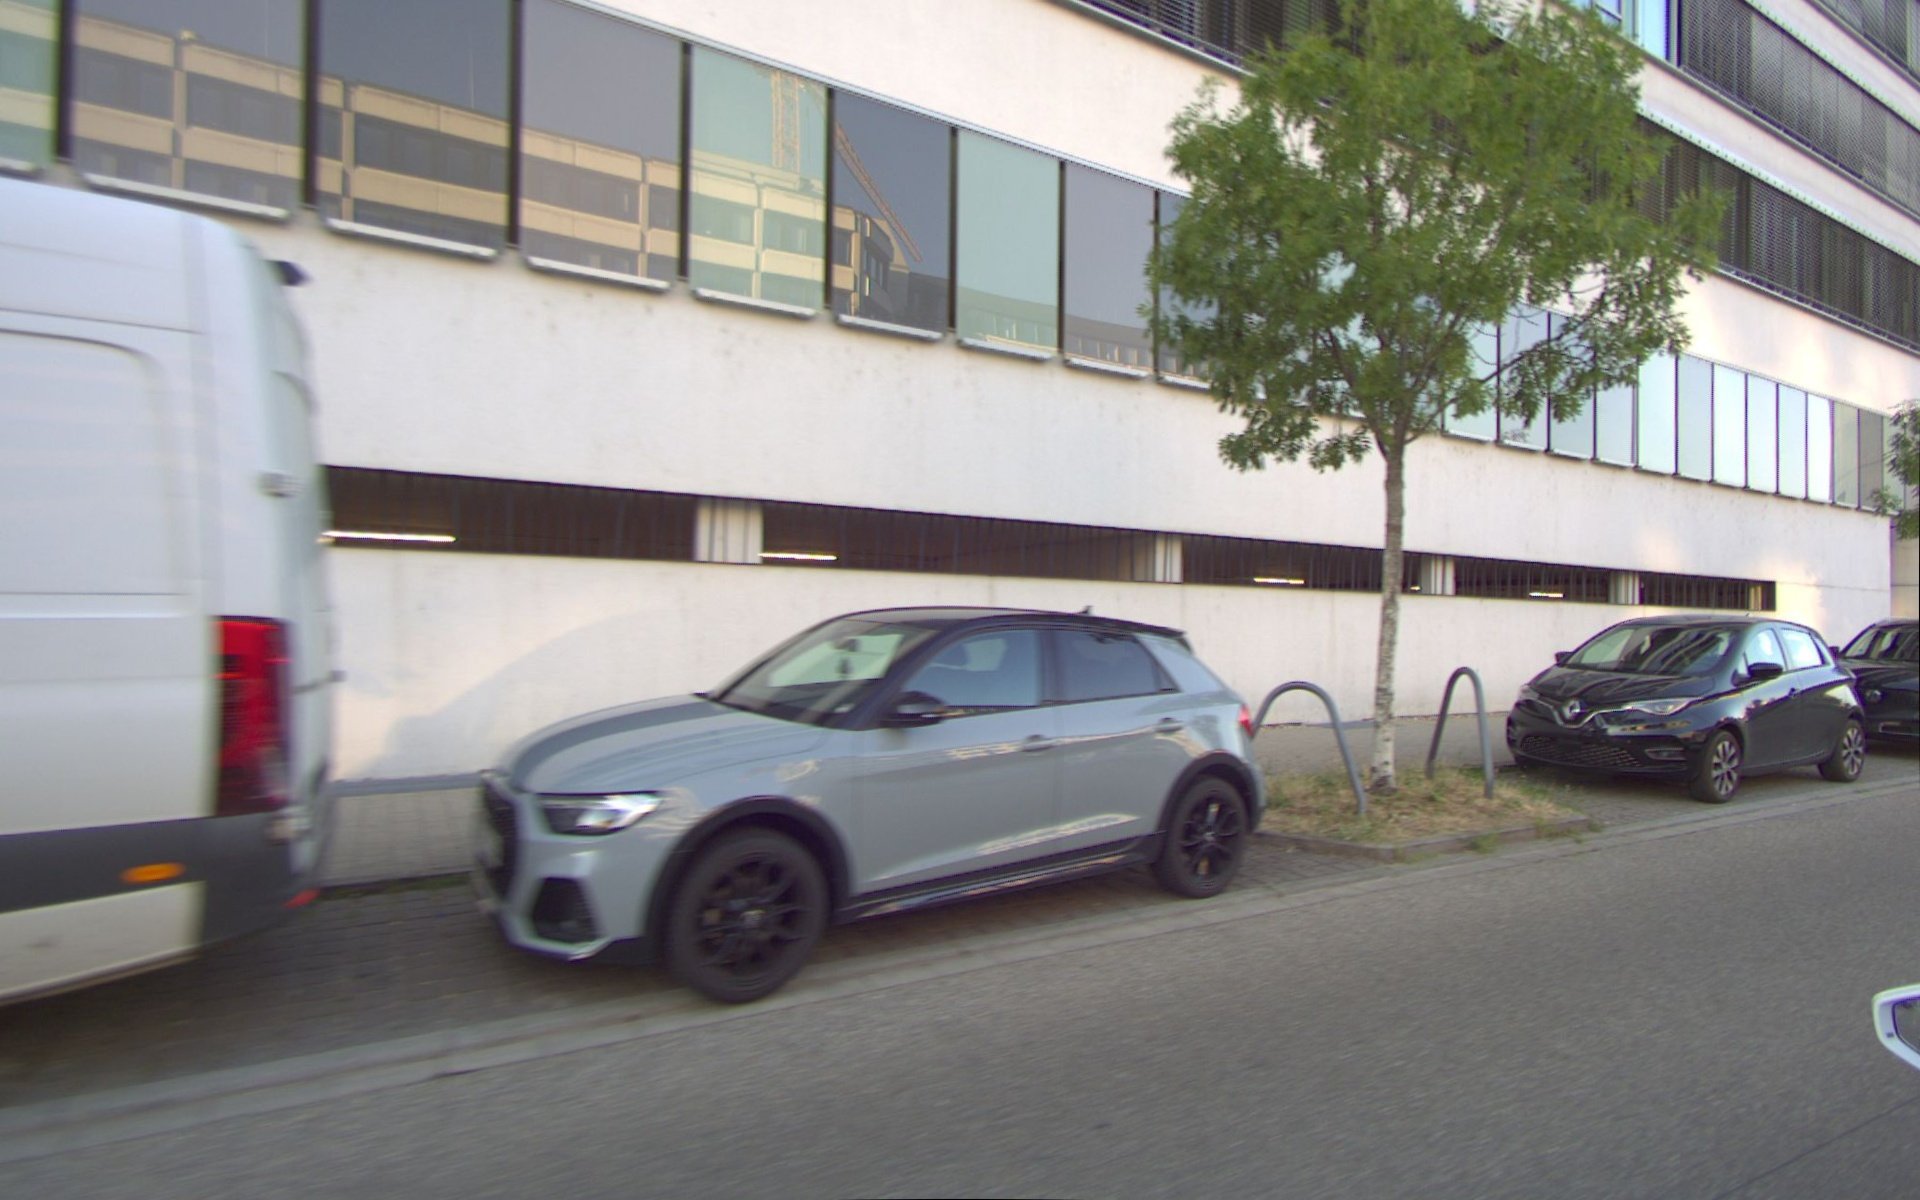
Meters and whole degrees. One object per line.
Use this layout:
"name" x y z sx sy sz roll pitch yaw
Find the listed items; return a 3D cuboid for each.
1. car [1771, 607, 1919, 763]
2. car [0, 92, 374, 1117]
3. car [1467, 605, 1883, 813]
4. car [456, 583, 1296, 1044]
"car" 12.002 0.973 12.495 3.904 1.675 1.746 1 1 -32
"car" -5.203 -0.032 2.111 6.812 2.652 1.948 1 1 -31
"car" 6.887 0.881 9.598 3.996 1.582 1.747 1 1 -31
"car" -0.256 0.692 5.043 3.863 1.459 1.744 1 1 -36
